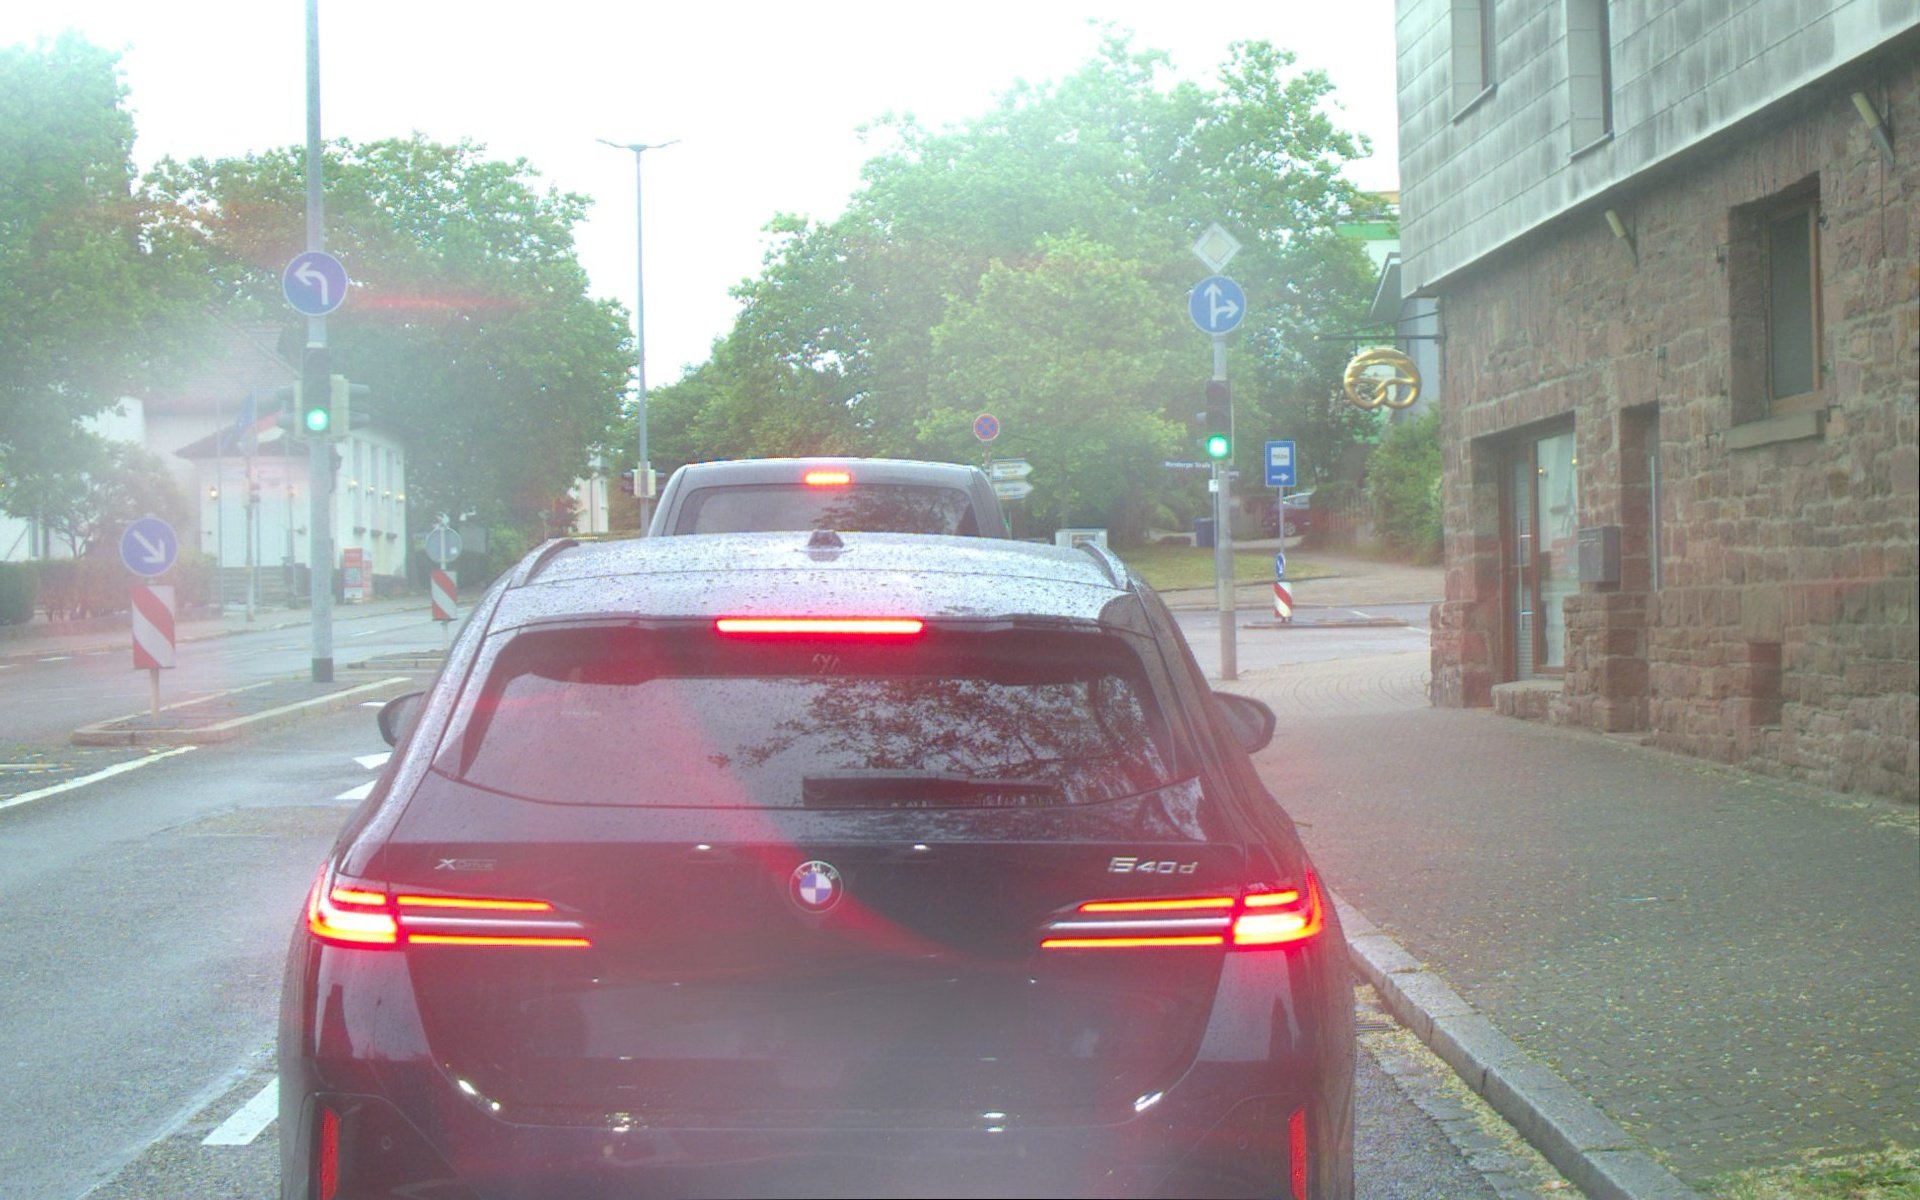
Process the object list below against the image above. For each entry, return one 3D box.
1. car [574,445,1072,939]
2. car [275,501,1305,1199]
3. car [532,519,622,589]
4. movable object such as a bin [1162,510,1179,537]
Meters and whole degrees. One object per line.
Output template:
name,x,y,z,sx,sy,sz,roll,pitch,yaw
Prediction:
car,-0.619,0.324,14.554,1.812,1.802,3.757,1,0,-4
car,-0.360,0.611,6.900,1.523,1.529,3.532,1,0,-4
car,-9.133,-1.124,82.239,1.898,1.572,4.503,-1,2,-4
movable object such as a bin,7.060,-2.566,115.272,0.450,0.902,0.462,1,0,15
